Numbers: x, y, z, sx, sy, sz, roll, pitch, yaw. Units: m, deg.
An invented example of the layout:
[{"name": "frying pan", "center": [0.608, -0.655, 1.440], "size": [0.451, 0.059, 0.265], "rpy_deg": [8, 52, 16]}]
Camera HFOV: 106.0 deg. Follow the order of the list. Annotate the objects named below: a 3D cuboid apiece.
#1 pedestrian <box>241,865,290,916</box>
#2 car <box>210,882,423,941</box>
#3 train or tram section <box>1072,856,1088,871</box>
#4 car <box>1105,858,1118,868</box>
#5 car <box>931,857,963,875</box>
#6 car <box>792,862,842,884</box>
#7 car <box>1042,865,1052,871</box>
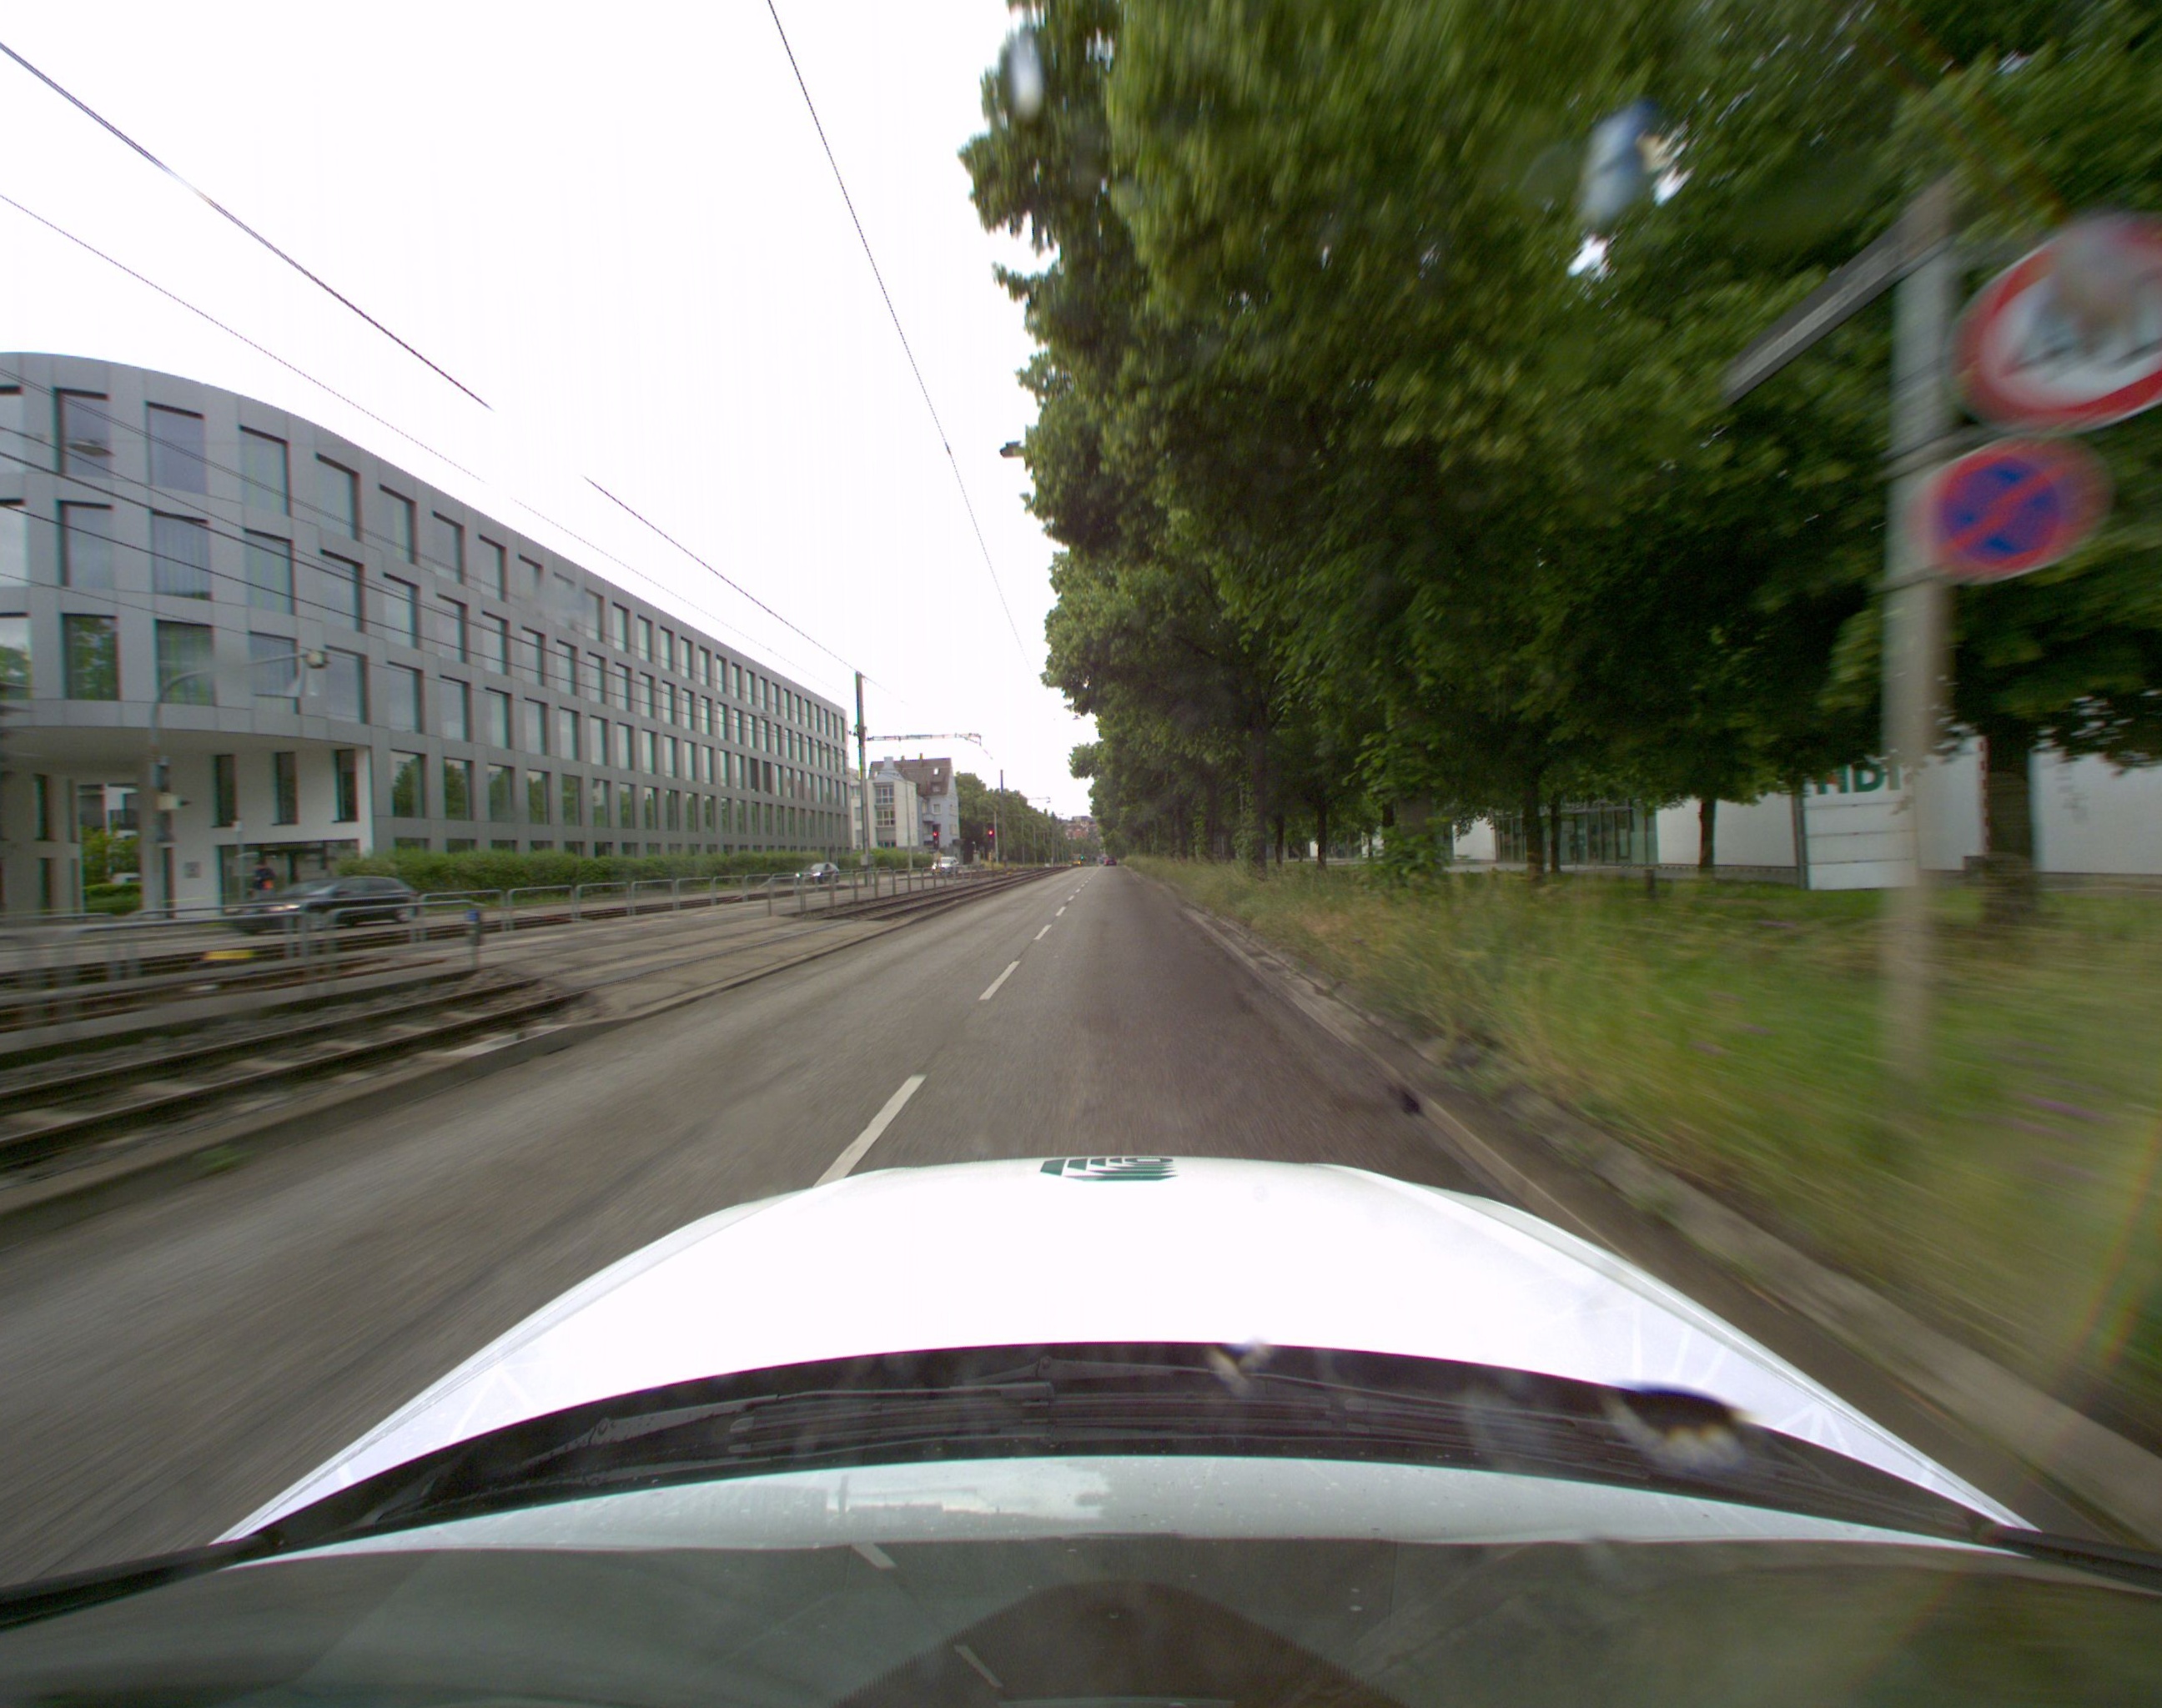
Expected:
[{"name": "pedestrian", "center": [-26.707, 1.186, 26.673], "size": [0.721, 1.648, 0.846], "rpy_deg": [-1, -1, 2]}, {"name": "car", "center": [-19.969, 1.457, 21.549], "size": [1.749, 1.244, 3.990], "rpy_deg": [-2, -1, 2]}, {"name": "train or tram section", "center": [-0.271, 2.822, 226.758], "size": [3.200, 3.797, 14.801], "rpy_deg": [-2, -2, 4]}, {"name": "car", "center": [4.844, 1.421, 128.837], "size": [1.974, 1.441, 4.476], "rpy_deg": [-2, -1, 2]}, {"name": "car", "center": [-12.890, 1.173, 78.712], "size": [1.894, 1.645, 4.888], "rpy_deg": [-2, -1, 3]}, {"name": "car", "center": [-17.728, 1.260, 54.812], "size": [1.791, 1.347, 4.261], "rpy_deg": [-2, -1, 2]}, {"name": "car", "center": [-8.493, 3.484, 203.922], "size": [1.894, 1.325, 4.830], "rpy_deg": [-2, -2, 3]}]
